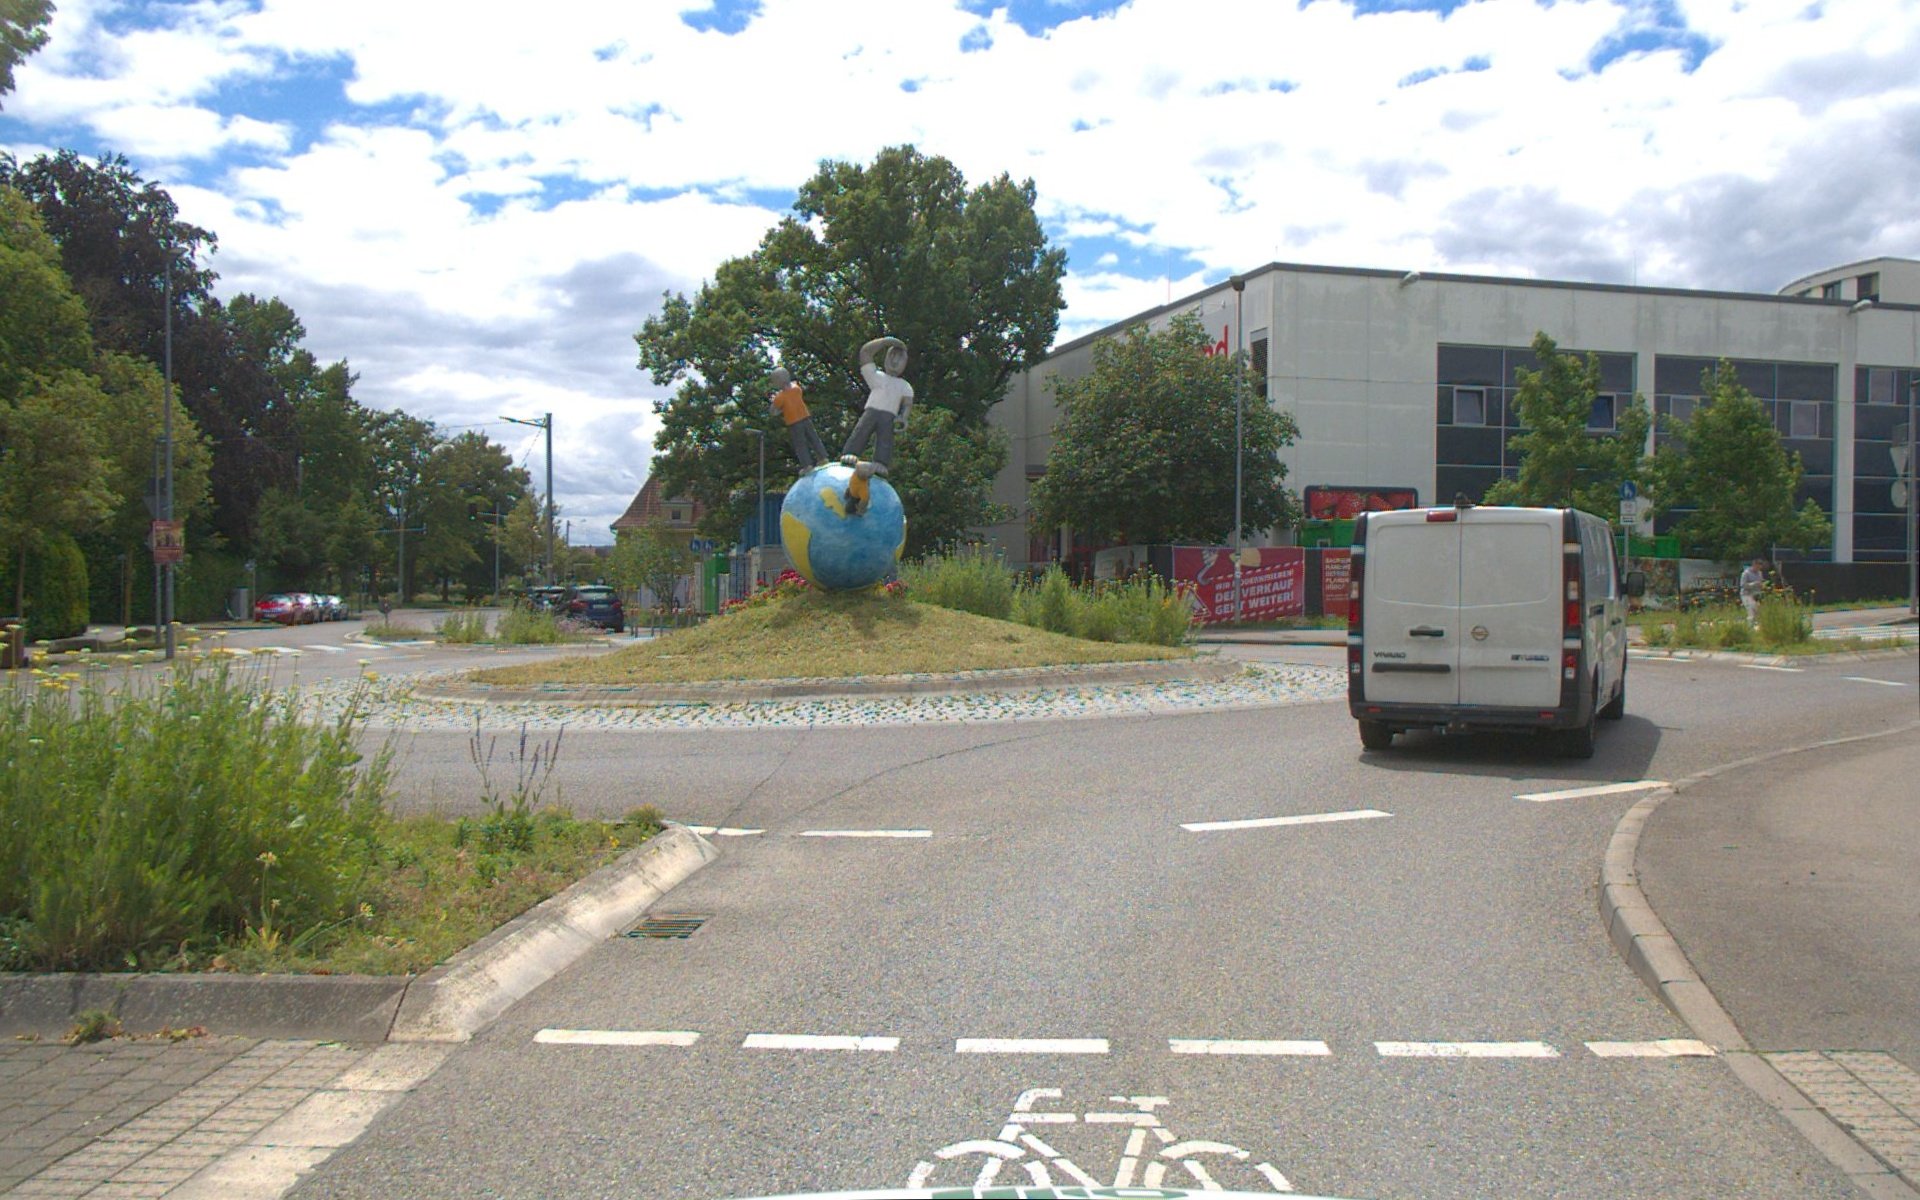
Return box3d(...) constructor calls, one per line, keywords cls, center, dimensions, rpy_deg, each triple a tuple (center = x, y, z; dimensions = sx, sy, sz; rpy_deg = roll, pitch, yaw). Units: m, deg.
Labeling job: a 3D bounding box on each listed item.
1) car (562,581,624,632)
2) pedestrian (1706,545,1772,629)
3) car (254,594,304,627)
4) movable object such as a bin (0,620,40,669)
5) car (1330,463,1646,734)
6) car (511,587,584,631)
box3d(cls="car", center=(-12.200, 0.188, 54.852), dimensions=(1.900, 1.564, 3.911), rpy_deg=(0, 1, -14))
box3d(cls="pedestrian", center=(14.874, -0.249, 31.578), dimensions=(1.015, 1.568, 0.893), rpy_deg=(2, 0, 31))
box3d(cls="car", center=(-31.430, 0.471, 76.281), dimensions=(2.036, 1.410, 4.016), rpy_deg=(0, 1, -25))
box3d(cls="movable object such as a bin", center=(-17.852, 0.841, 31.210), dimensions=(0.617, 0.878, 0.639), rpy_deg=(-2, 1, -5))
box3d(cls="car", center=(4.898, -0.033, 14.803), dimensions=(1.995, 1.979, 4.989), rpy_deg=(2, 1, 25))
box3d(cls="car", center=(-15.498, 0.316, 61.995), dimensions=(1.896, 1.526, 3.892), rpy_deg=(0, 1, -26))
